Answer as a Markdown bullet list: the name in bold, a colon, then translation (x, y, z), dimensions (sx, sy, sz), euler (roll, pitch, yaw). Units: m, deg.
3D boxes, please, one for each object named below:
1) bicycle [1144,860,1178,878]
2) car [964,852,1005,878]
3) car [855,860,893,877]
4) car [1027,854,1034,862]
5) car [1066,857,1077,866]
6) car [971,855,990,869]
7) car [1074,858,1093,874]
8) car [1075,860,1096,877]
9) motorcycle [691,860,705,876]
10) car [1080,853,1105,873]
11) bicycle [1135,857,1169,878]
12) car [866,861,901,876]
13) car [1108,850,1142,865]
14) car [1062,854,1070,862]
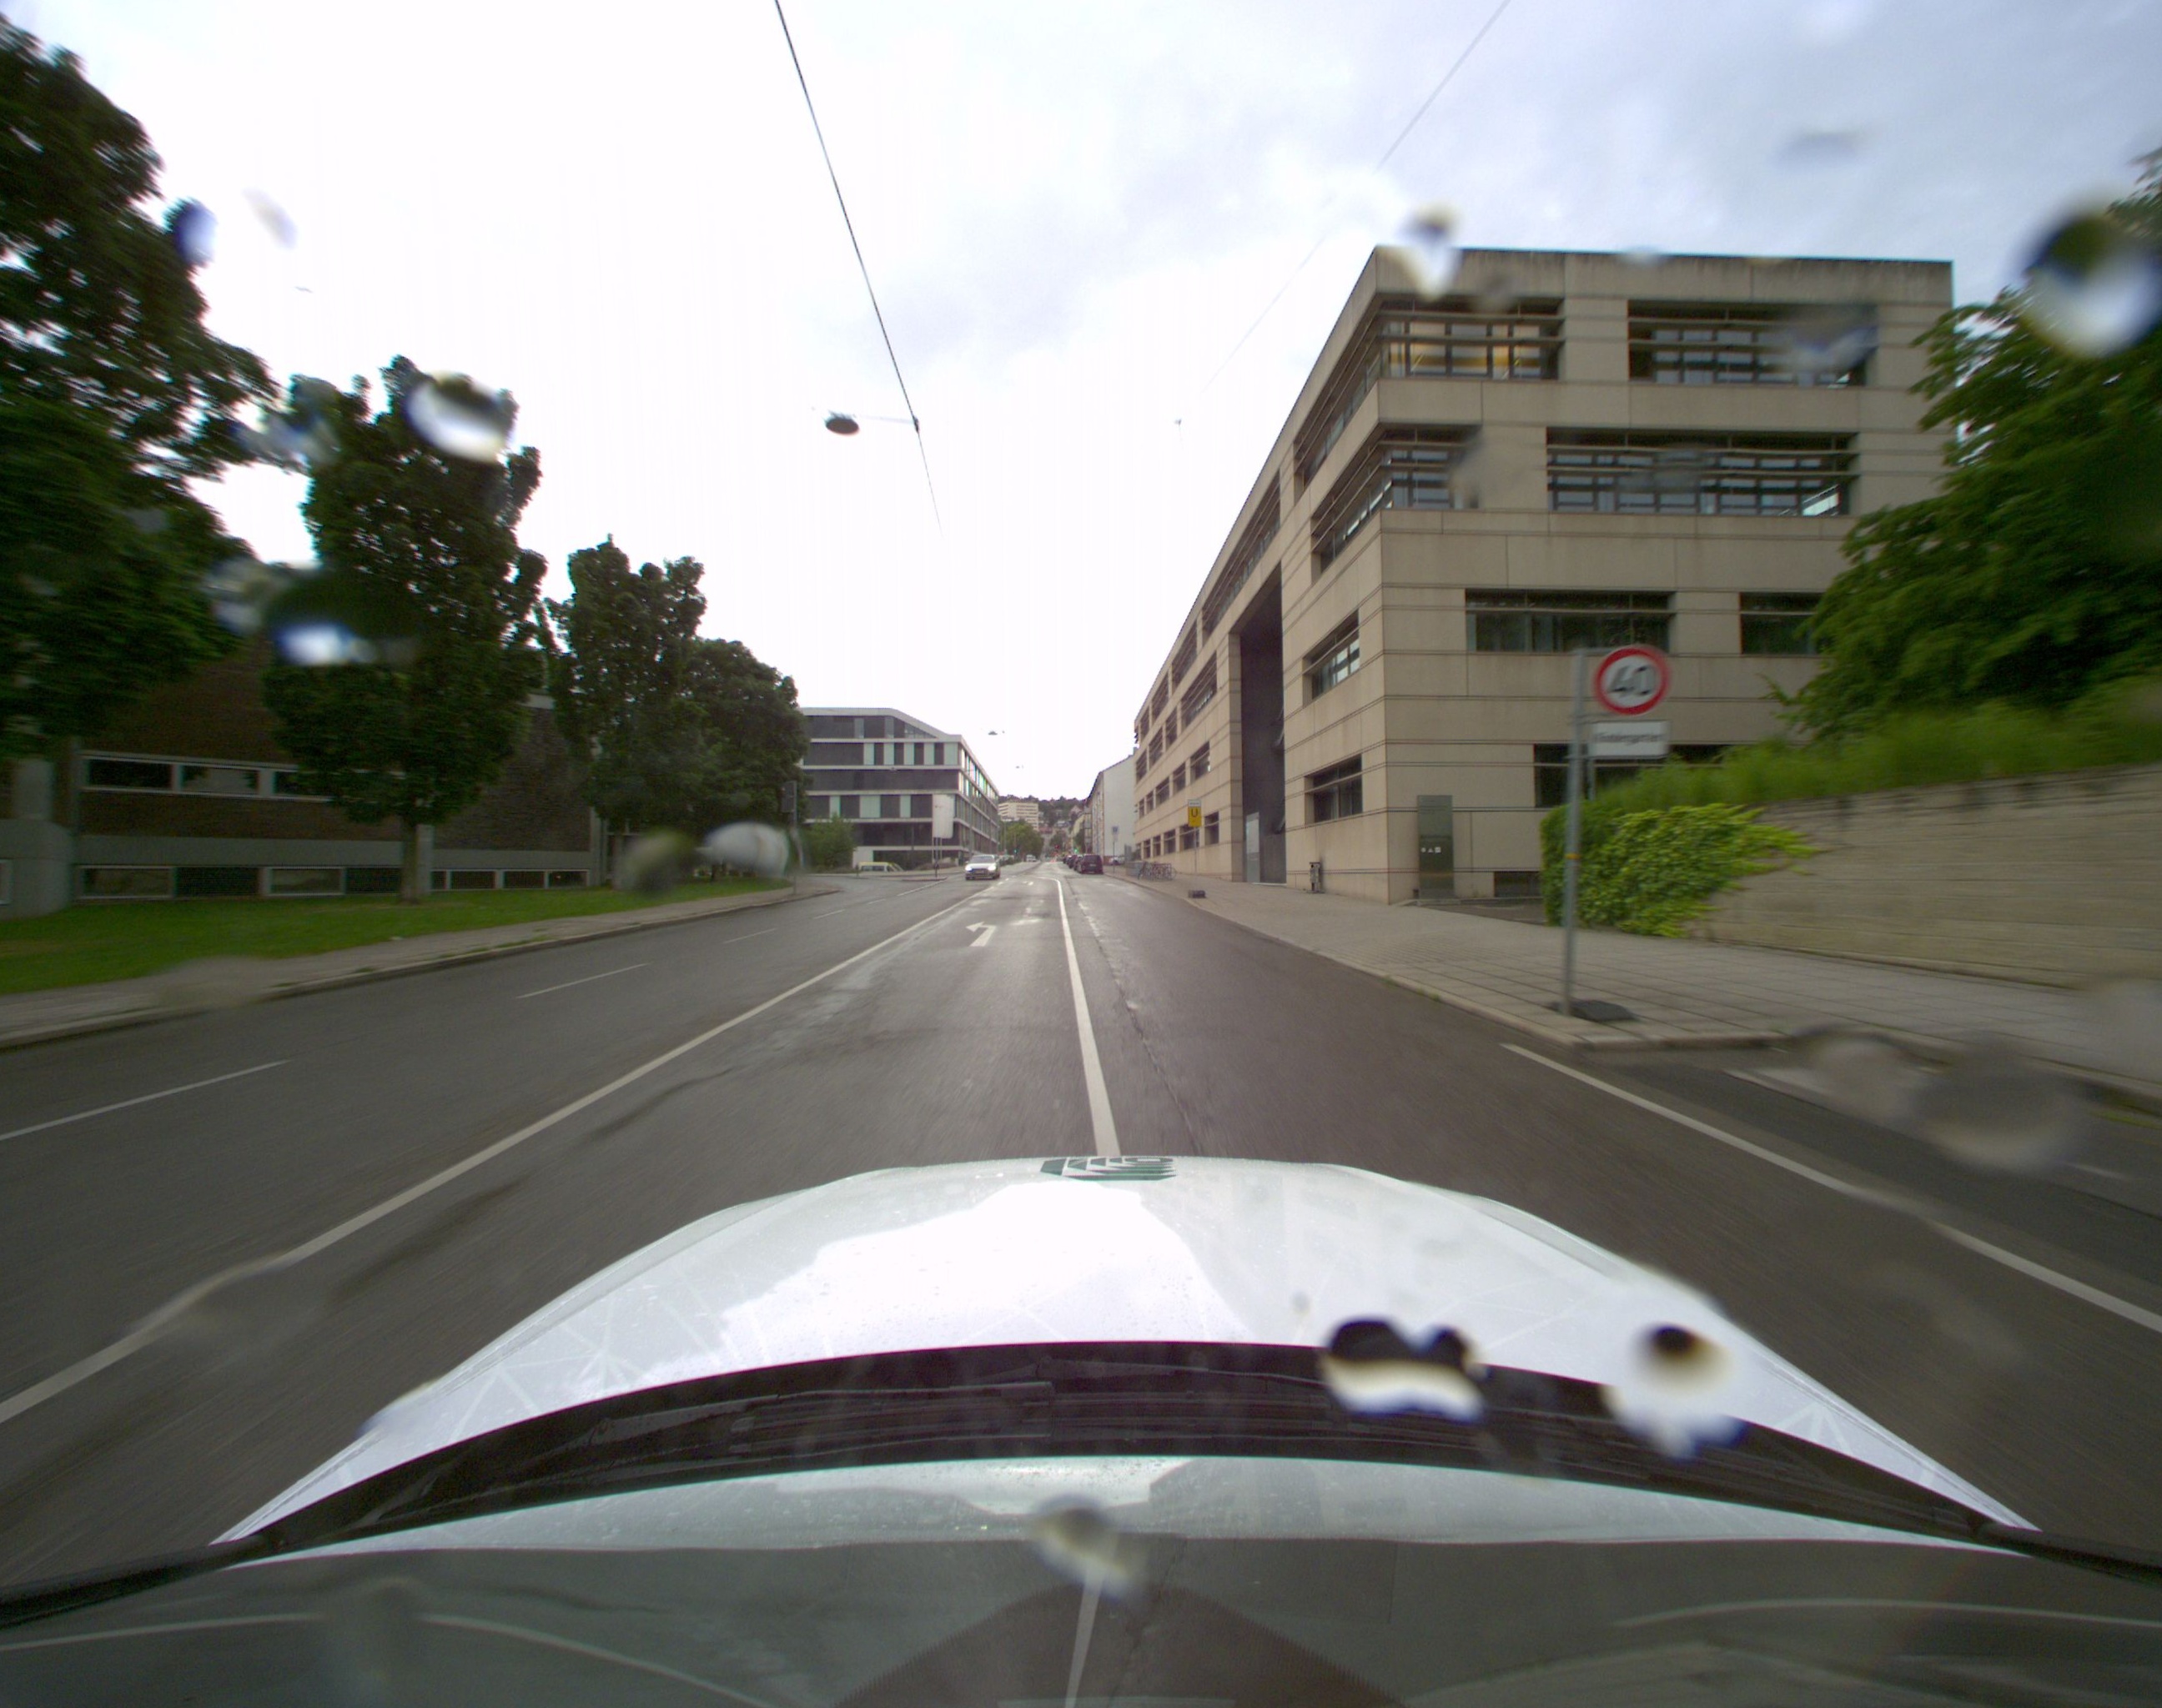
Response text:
- **bicycle**: translation (4.297, 0.826, 43.845), dimensions (1.756, 0.953, 0.658), euler (0, -1, -6)
- **car**: translation (-6.048, 0.657, 51.570), dimensions (1.875, 1.491, 5.220), euler (-3, 0, 0)
- **car**: translation (-27.076, 1.955, 106.516), dimensions (4.587, 2.174, 1.926), euler (0, -1, -8)
- **car**: translation (-16.325, 1.251, 261.730), dimensions (2.101, 2.546, 4.743), euler (0, -1, -4)
- **car**: translation (-1.574, 1.298, 134.561), dimensions (1.702, 1.454, 3.981), euler (0, -1, -2)
- **car**: translation (-11.684, 0.927, 94.928), dimensions (1.844, 1.617, 4.487), euler (0, -1, -2)
- **car**: translation (0.230, 1.194, 82.957), dimensions (1.739, 1.533, 4.314), euler (1, -1, -3)
- **car**: translation (0.386, 1.319, 75.788), dimensions (1.721, 1.512, 4.053), euler (2, -1, -3)
- **motorcycle**: translation (-27.434, 0.983, 58.338), dimensions (1.155, 1.125, 0.415), euler (-2, -2, 35)
- **car**: translation (0.886, 0.713, 67.552), dimensions (1.767, 1.604, 4.389), euler (0, -1, -3)
- **bicycle**: translation (3.910, 0.752, 44.807), dimensions (1.728, 1.119, 0.658), euler (0, -1, -8)
- **car**: translation (-26.814, 1.985, 110.608), dimensions (4.331, 2.032, 1.597), euler (0, -1, -3)
- **car**: translation (5.882, 0.522, 109.150), dimensions (4.428, 1.712, 1.903), euler (-3, -1, -3)
- **car**: translation (-3.780, 1.040, 206.673), dimensions (1.860, 1.770, 4.189), euler (0, -1, 1)
